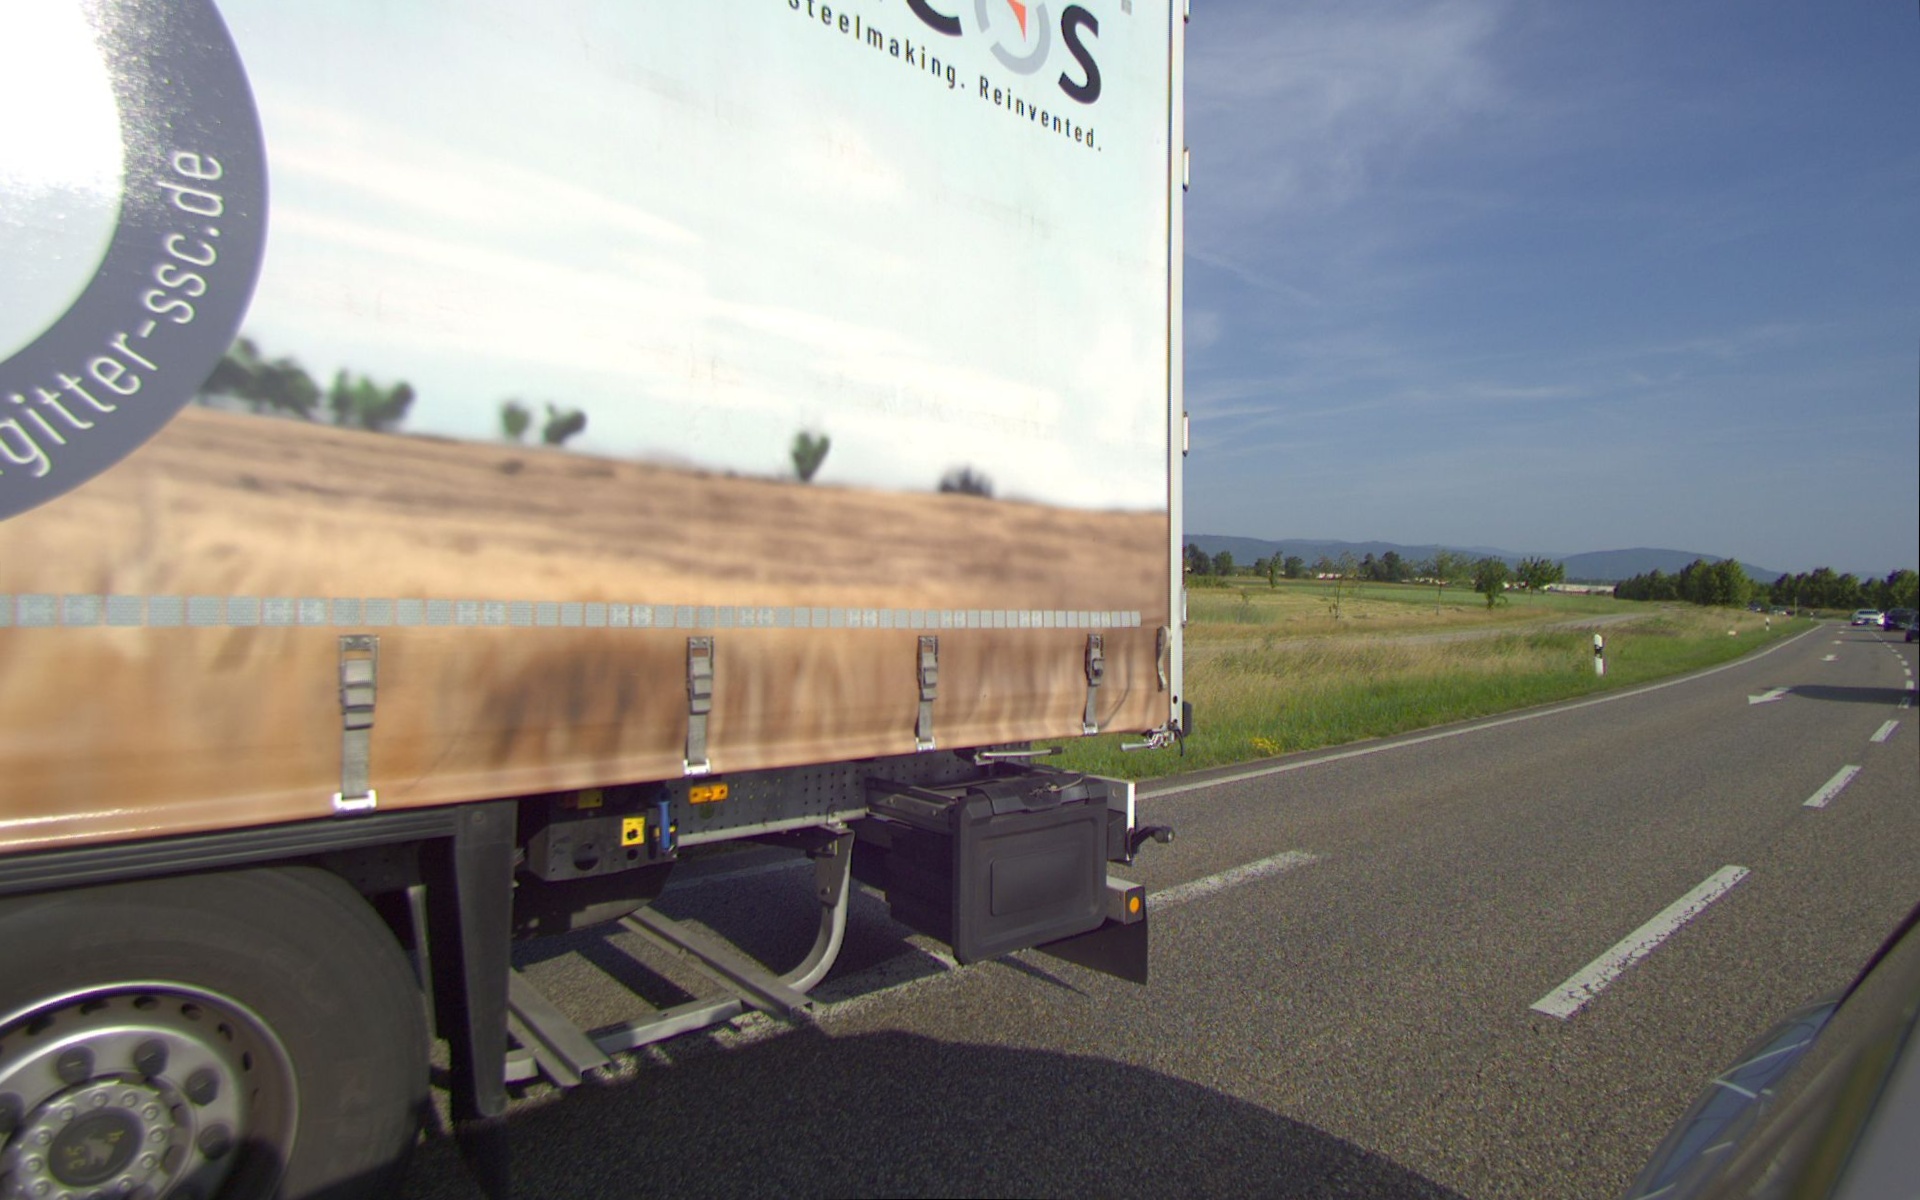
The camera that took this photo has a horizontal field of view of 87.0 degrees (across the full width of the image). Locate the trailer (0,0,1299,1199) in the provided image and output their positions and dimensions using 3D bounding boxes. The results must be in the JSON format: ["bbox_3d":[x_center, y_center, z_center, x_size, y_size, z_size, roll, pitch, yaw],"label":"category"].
[{"bbox_3d":[-4.764,-0.955,0.624,12.915,4.740,3.287,0,0,-41],"label":"trailer"}]

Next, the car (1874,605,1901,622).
[{"bbox_3d":[79.849,1.137,87.129,1.554,1.417,3.971,2,1,44],"label":"car"}]

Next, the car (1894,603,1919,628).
[{"bbox_3d":[64.745,1.046,68.951,1.554,1.579,3.000,2,1,44],"label":"car"}]
